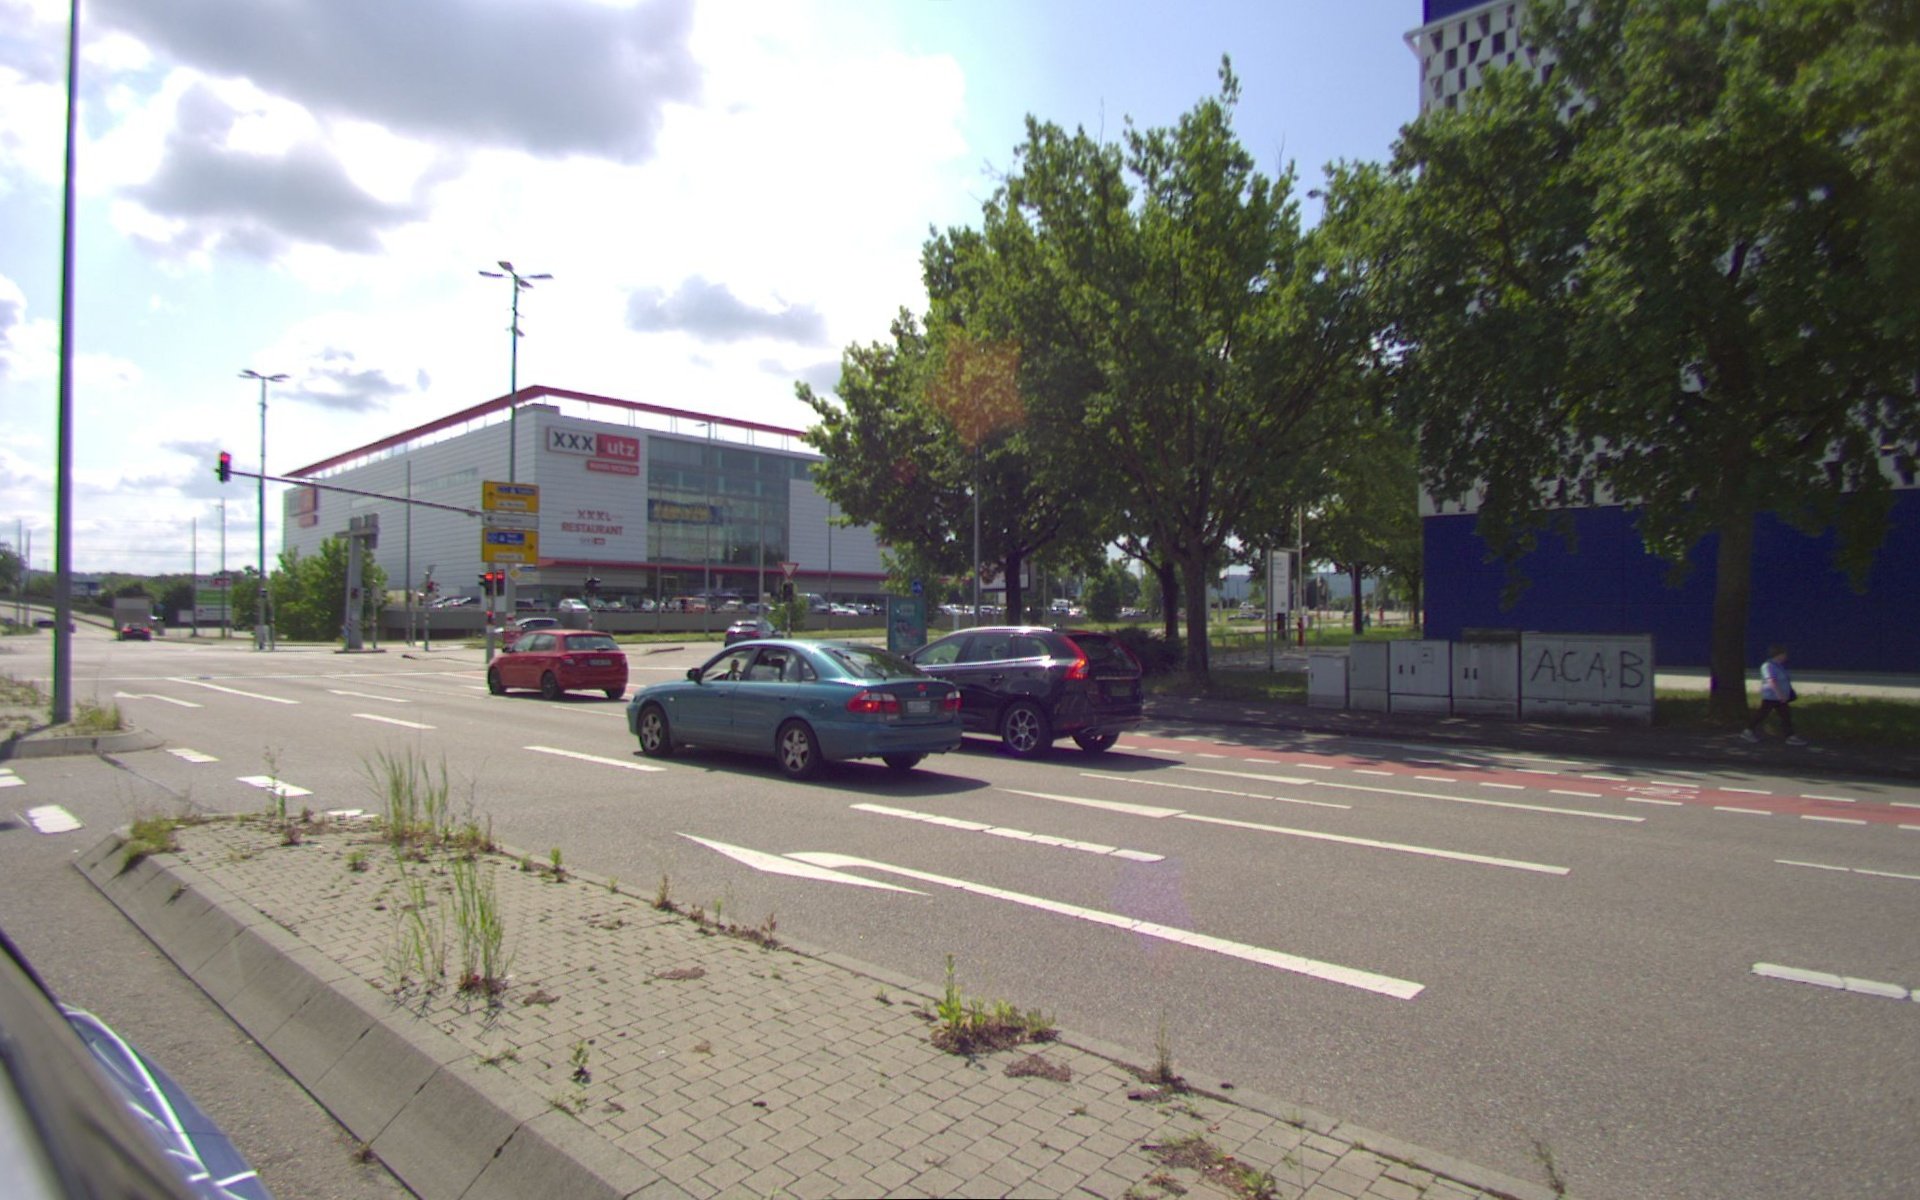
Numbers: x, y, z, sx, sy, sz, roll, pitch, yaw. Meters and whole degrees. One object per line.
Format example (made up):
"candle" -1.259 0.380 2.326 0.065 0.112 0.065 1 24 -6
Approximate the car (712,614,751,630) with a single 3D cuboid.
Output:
"car" -23.893 2.297 105.762 4.425 1.618 1.926 -3 -2 44

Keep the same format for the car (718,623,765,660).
"car" -9.544 1.782 44.524 1.866 1.567 4.596 0 -1 -10

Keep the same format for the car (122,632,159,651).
"car" -67.361 3.374 83.273 1.749 1.489 4.692 0 -2 -32

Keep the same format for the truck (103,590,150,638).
"truck" -76.486 1.329 92.903 3.172 4.058 9.085 0 -2 -40

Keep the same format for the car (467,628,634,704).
"car" -9.028 1.405 22.182 4.123 1.494 1.668 -1 -4 41

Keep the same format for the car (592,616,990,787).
"car" -2.089 1.012 11.532 4.817 1.560 1.755 -1 -4 40

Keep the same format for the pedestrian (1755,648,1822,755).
"pedestrian" 12.648 1.525 15.456 0.760 1.567 0.497 -1 -2 41

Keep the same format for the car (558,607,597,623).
"car" -39.508 1.569 104.435 4.422 1.482 1.928 -3 -2 42

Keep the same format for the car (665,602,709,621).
"car" -27.260 1.139 101.095 4.174 1.763 1.896 -3 -2 32

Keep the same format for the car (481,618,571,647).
"car" -23.566 1.747 55.100 1.608 1.542 4.207 -2 -2 44

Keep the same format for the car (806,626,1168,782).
"car" 0.231 1.287 13.897 4.817 1.769 1.908 -1 -4 40

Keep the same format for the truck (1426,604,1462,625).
"truck" 69.586 2.041 145.422 2.974 2.773 5.703 -3 -2 42
